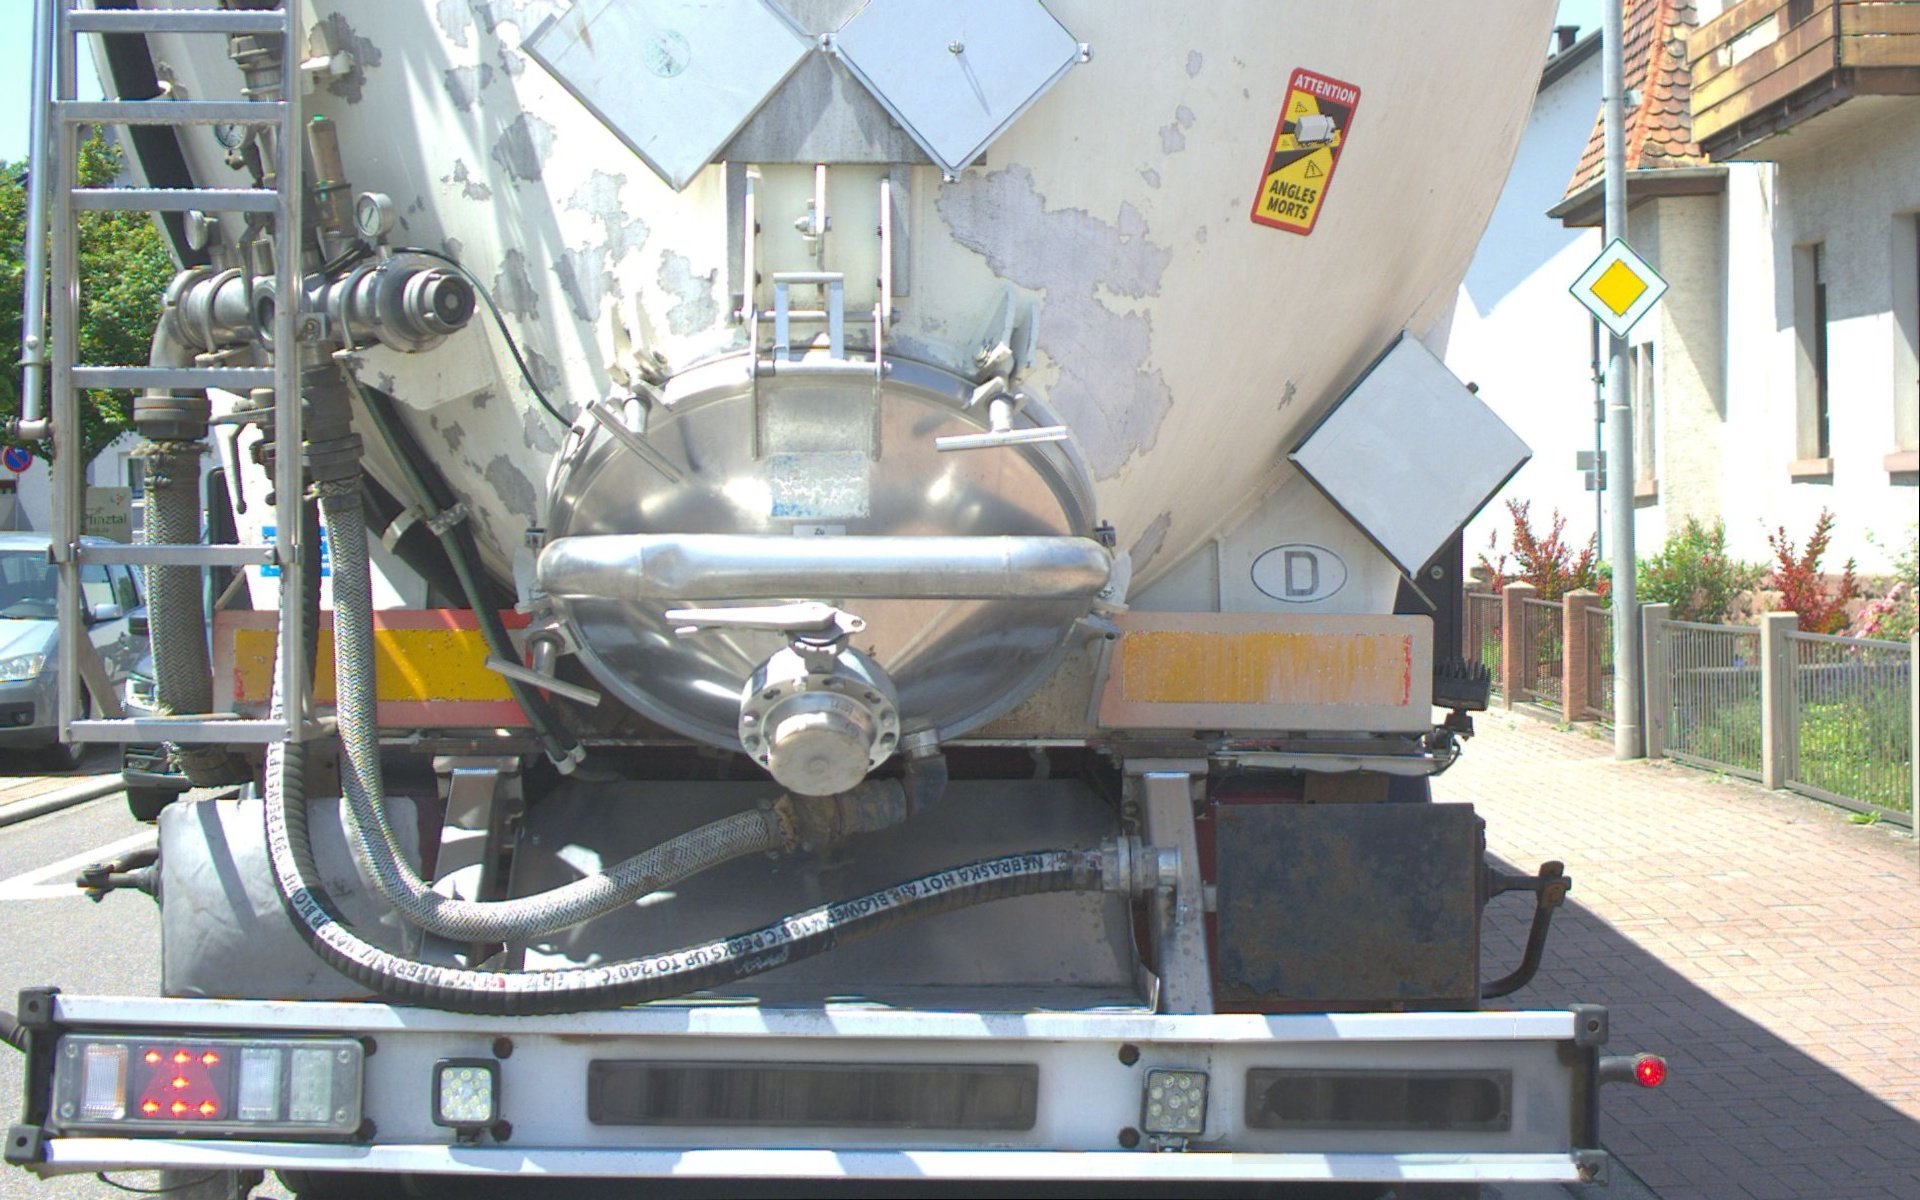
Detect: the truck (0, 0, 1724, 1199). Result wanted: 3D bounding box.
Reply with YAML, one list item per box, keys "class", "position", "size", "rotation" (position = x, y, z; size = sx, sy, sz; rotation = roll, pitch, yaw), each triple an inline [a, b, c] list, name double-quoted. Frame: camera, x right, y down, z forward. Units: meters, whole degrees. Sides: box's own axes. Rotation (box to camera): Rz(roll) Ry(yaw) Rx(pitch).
- class: "truck"
  position: [-0.279, -0.727, 9.633]
  size: [2.641, 4.002, 9.562]
  rotation: [0, 1, 0]

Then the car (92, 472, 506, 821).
- class: "car"
  position: [-3.910, 0.204, 21.036]
  size: [1.655, 1.848, 4.464]
  rotation: [-2, 1, -1]

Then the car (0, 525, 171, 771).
- class: "car"
  position: [-6.740, 0.263, 23.923]
  size: [1.697, 1.575, 3.838]
  rotation: [0, 1, -1]
